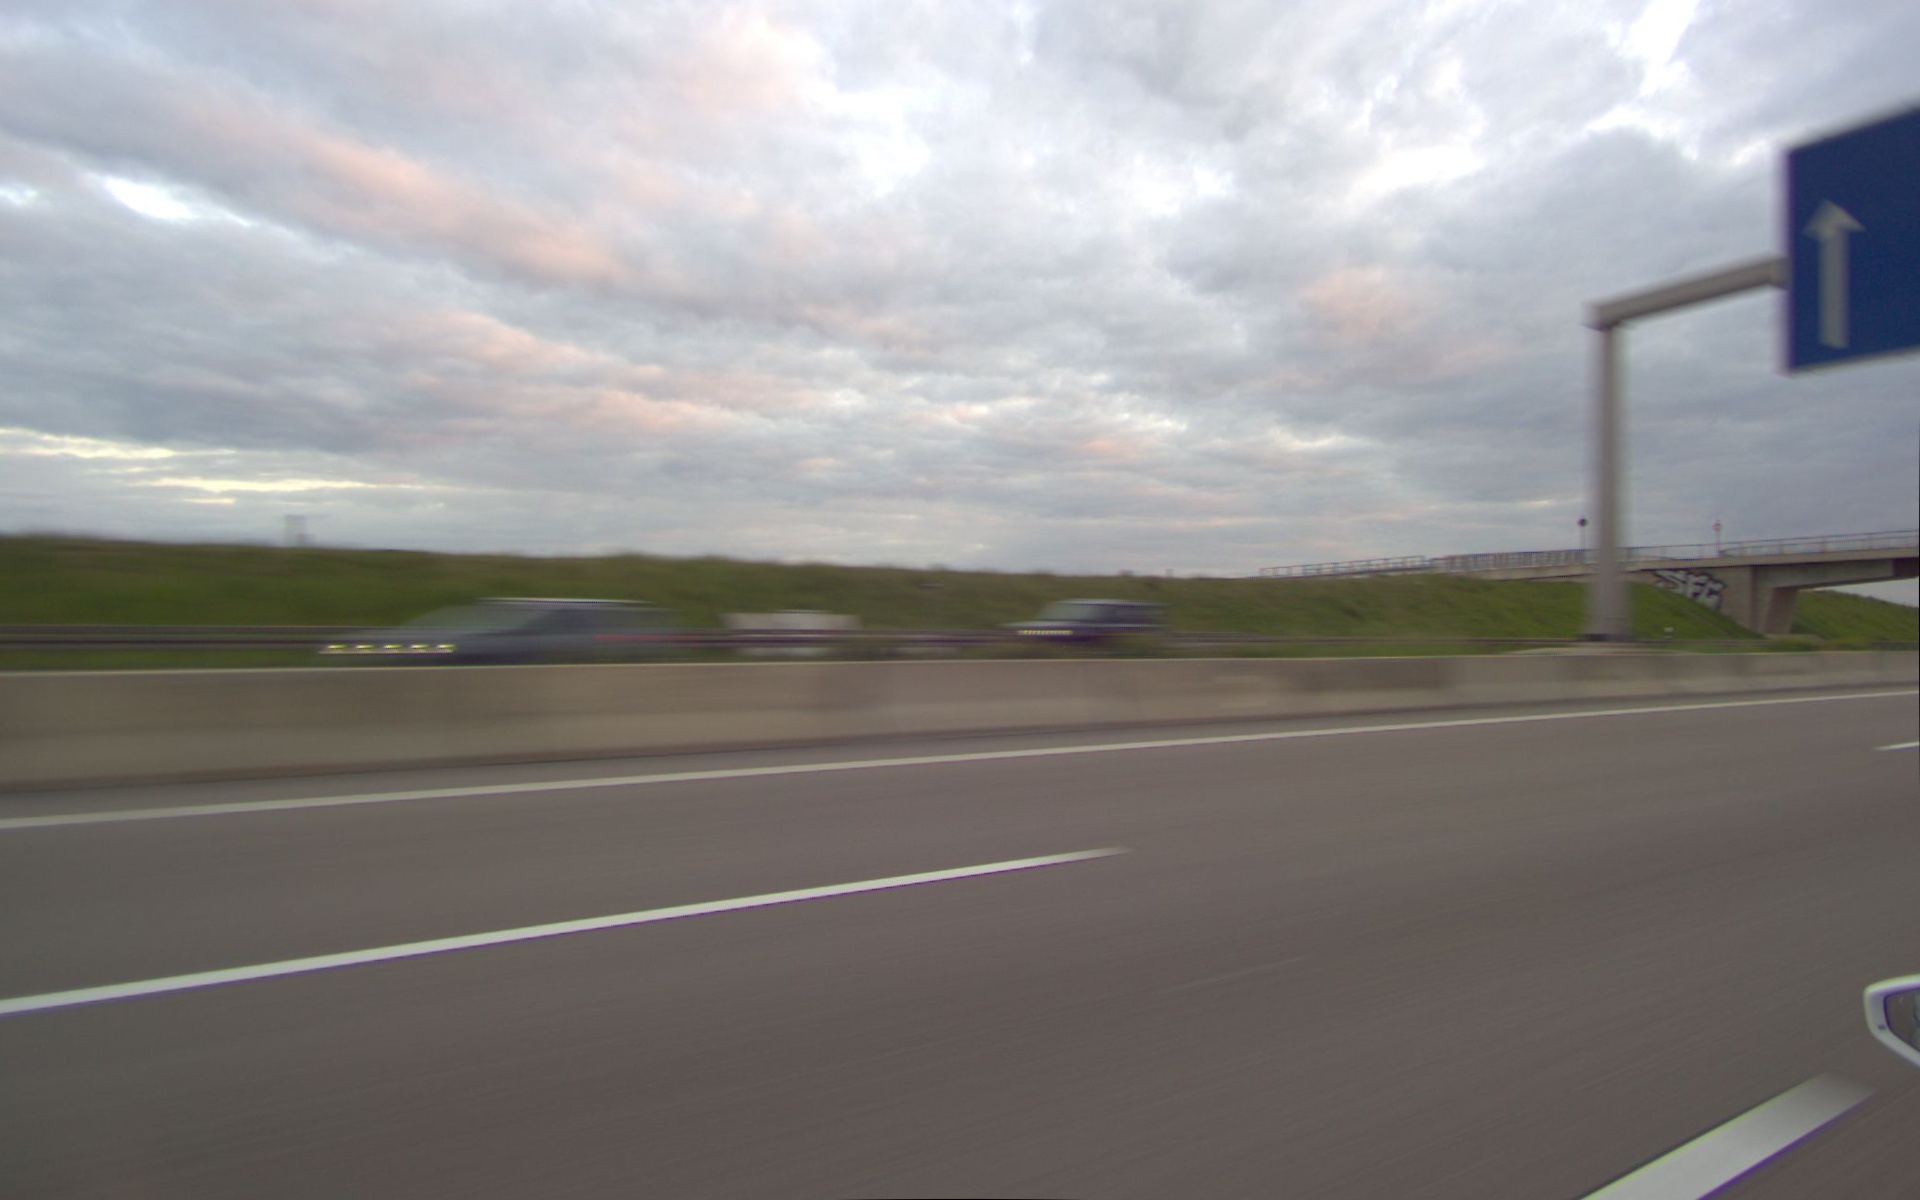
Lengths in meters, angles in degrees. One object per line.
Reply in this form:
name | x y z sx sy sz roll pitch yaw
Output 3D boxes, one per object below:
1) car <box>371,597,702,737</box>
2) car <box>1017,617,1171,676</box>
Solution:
car | -7.022 1.043 16.828 4.847 2.040 1.984 2 0 -31
car | 3.727 1.273 27.833 3.953 1.478 1.805 2 0 -31
